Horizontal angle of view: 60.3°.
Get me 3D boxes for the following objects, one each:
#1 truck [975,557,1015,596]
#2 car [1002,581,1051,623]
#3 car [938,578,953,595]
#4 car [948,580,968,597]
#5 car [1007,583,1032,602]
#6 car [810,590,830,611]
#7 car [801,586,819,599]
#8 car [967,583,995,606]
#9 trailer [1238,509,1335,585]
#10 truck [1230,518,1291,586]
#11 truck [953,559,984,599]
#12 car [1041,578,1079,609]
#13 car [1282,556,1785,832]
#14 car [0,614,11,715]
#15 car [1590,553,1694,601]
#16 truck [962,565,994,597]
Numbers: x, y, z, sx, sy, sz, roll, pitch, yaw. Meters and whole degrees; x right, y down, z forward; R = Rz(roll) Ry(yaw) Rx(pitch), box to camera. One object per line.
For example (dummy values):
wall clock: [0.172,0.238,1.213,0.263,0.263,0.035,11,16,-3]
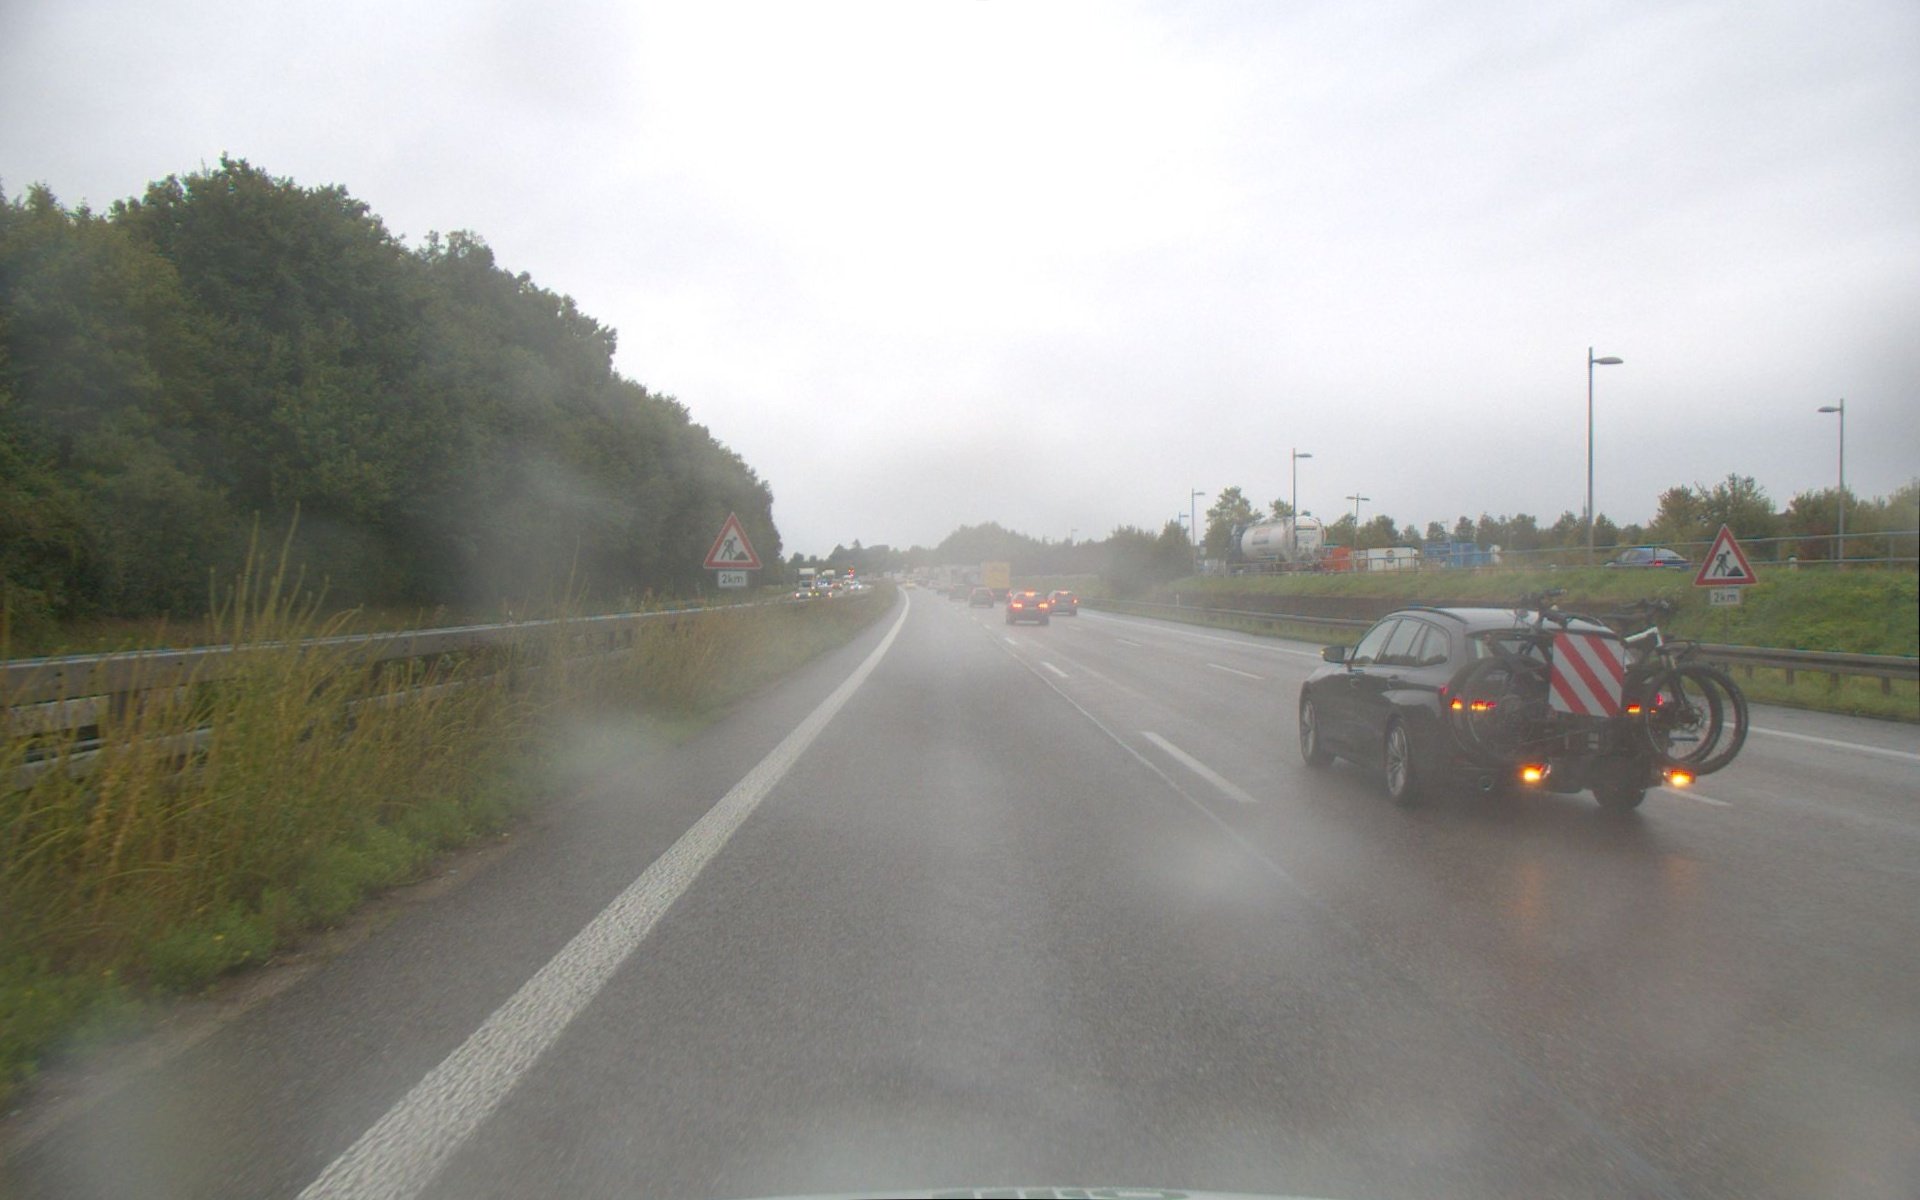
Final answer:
truck: [3.729,-2.518,179.630,3.844,4.051,12.237,-1,0,-1]
car: [2.956,0.070,74.564,1.953,1.791,3.999,-1,0,-1]
car: [-1.915,-1.833,223.469,1.953,2.243,3.999,-1,0,-1]
car: [-0.206,-1.184,166.081,1.953,1.657,3.999,-1,0,-1]
car: [5.252,-0.698,146.854,1.953,1.657,3.999,-1,0,-1]
car: [-13.085,0.071,154.690,1.571,1.917,3.571,-1,0,-1]
car: [-16.517,-0.831,181.878,1.644,1.422,3.999,-1,1,-1]
car: [1.603,-0.421,127.192,1.953,1.657,3.999,-1,0,-1]
trailer: [19.324,-3.020,98.921,2.924,4.229,12.953,-1,0,-1]
truck: [19.215,-3.051,106.096,2.889,4.218,4.921,-1,0,-1]
truck: [1.181,-3.130,247.509,4.200,5.665,12.237,-1,0,-1]
car: [5.977,-0.407,99.666,1.953,1.791,3.999,-1,0,-1]
car: [4.140,0.616,13.134,2.016,1.700,5.520,1,-1,-1]
car: [-14.370,0.942,21.634,1.644,1.422,3.999,-1,1,-1]
car: [24.742,-0.823,60.176,1.754,1.653,3.994,-1,0,-7]
truck: [2.264,-2.491,216.345,3.844,4.051,12.237,-1,0,-1]
